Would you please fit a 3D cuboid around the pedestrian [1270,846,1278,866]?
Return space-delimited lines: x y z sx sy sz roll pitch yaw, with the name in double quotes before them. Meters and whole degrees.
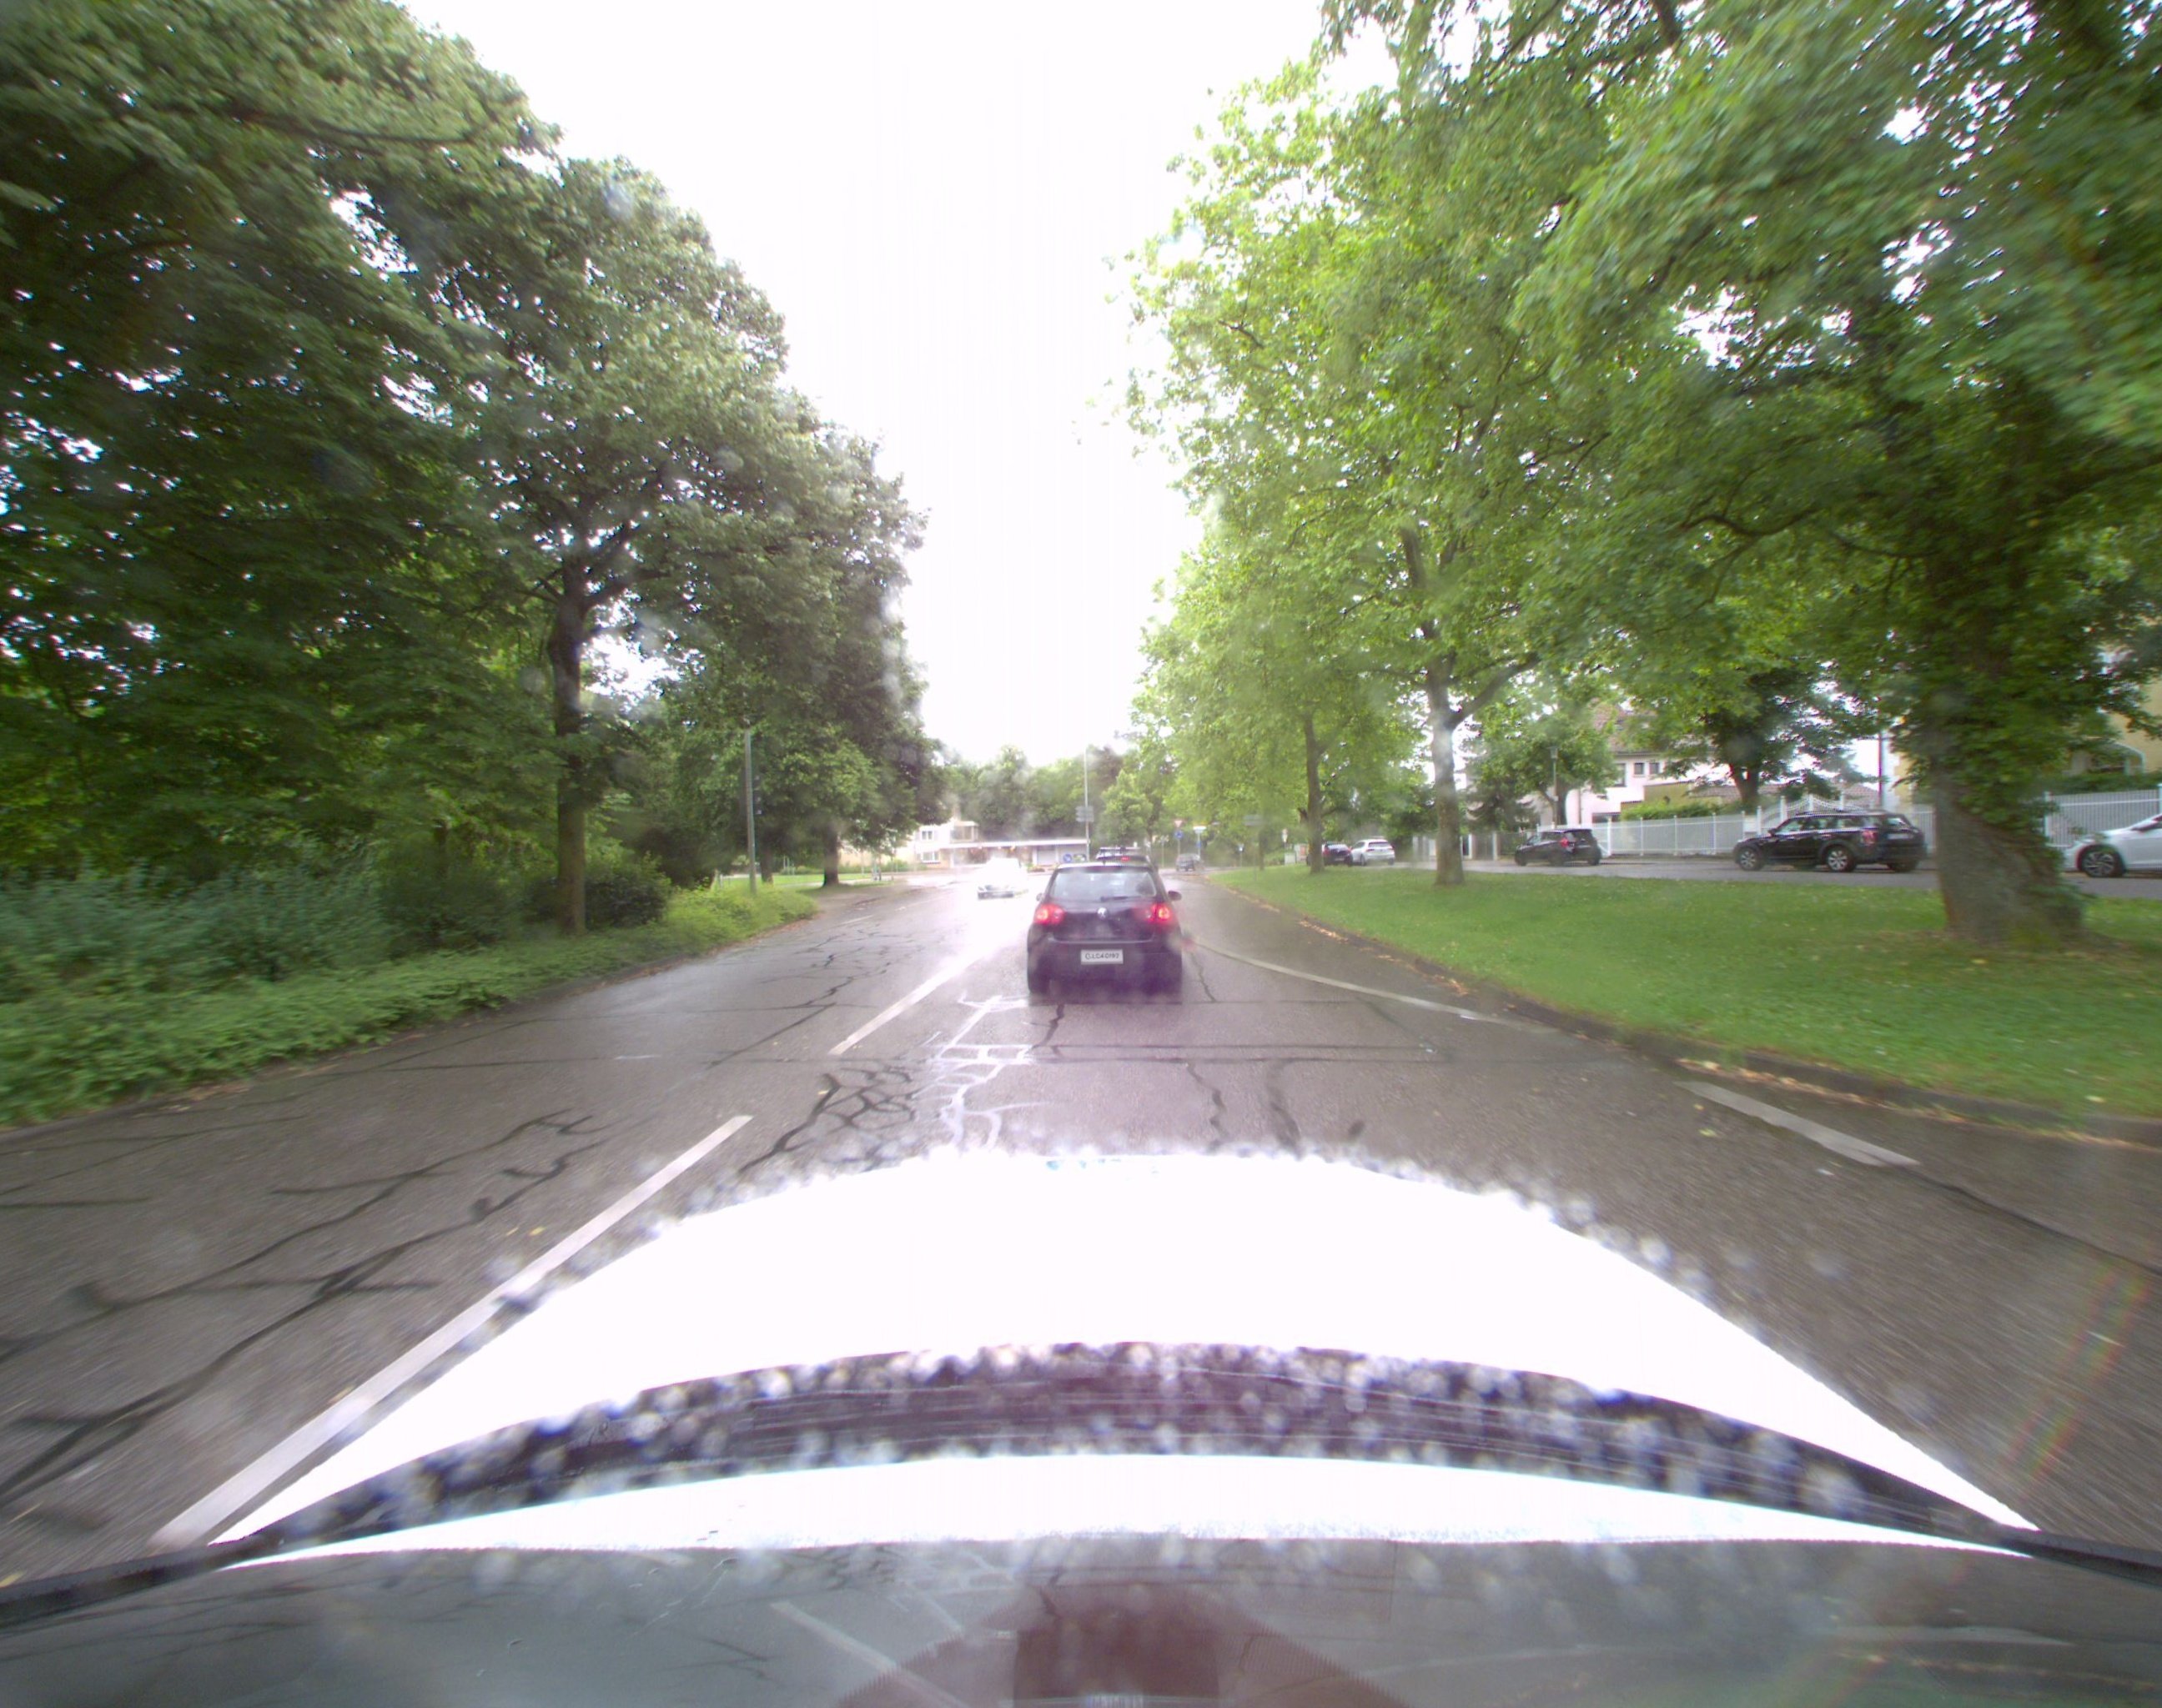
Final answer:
"pedestrian" 17.388 0.181 73.278 0.628 1.713 0.532 -1 -1 19

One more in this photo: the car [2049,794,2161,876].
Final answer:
"car" 20.186 -0.350 14.079 1.988 1.449 4.122 0 -1 -1

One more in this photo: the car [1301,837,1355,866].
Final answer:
"car" 14.153 -0.130 46.875 1.758 1.471 4.599 -4 -1 2

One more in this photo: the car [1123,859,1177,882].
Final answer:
"car" 4.875 1.152 57.273 1.974 1.530 4.025 -1 -1 37

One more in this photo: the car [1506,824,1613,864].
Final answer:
"car" 19.689 -0.379 33.776 1.755 1.471 4.354 -3 0 -1

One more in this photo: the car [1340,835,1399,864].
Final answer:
"car" 16.610 -0.219 47.062 1.839 1.471 4.426 -3 -1 1

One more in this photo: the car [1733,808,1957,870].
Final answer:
"car" 19.812 -0.349 21.414 1.988 1.471 4.122 0 -1 -1

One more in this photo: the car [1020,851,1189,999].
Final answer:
"car" 0.309 0.757 10.498 1.758 1.538 4.001 0 -1 2

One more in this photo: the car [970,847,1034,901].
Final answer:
"car" -3.094 0.771 32.988 1.986 2.014 4.575 0 -1 2

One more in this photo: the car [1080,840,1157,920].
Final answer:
"car" 0.956 0.637 21.454 1.758 1.801 4.247 -3 -1 2

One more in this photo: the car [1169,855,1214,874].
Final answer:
"car" 9.264 0.842 68.221 1.974 1.530 4.025 -1 -1 37

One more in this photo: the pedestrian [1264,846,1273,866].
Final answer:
"pedestrian" 16.667 0.182 72.480 0.528 1.713 0.633 0 -1 -12

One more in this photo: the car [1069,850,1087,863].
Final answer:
"car" -0.342 0.269 95.854 1.809 1.486 3.825 -3 0 -4
